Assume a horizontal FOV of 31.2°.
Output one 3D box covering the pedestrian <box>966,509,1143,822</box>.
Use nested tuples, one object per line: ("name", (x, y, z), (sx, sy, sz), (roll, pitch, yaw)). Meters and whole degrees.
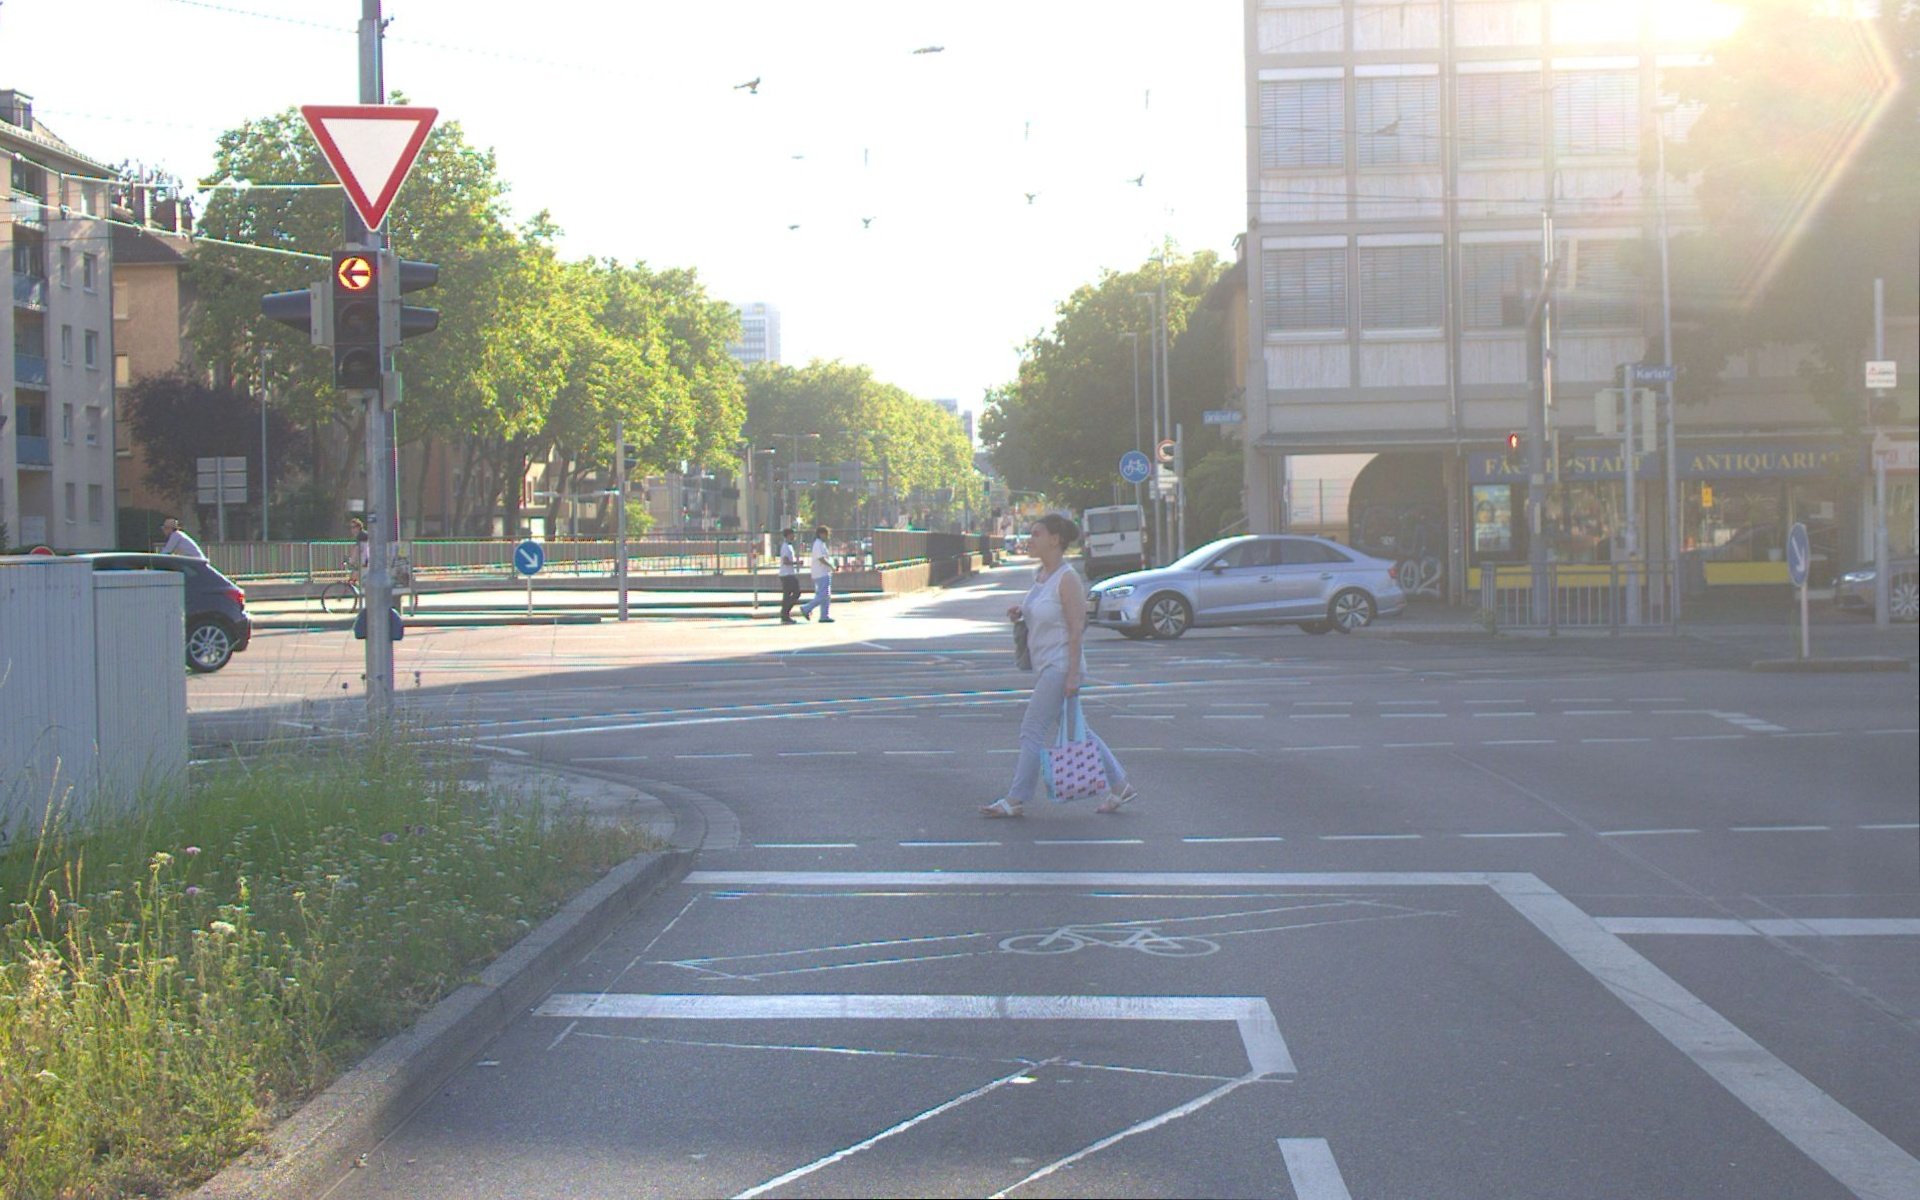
("pedestrian", (0.495, 0.332, 18.024), (0.878, 1.592, 0.655), (-1, 1, 2))

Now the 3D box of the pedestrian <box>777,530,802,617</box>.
("pedestrian", (-2.968, -0.470, 59.894), (0.366, 1.502, 0.543), (-1, 1, -5))

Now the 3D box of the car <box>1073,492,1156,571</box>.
("car", (5.020, -2.225, 112.600), (2.486, 2.384, 5.934), (-3, 1, 1))

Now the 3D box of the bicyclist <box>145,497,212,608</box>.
("bicyclist", (-12.517, -0.760, 55.110), (0.898, 1.747, 0.655), (-1, 1, -3))

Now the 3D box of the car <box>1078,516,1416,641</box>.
("car", (3.933, -0.314, 47.560), (4.331, 1.590, 2.000), (-2, 1, -6))

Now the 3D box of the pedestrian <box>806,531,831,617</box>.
("pedestrian", (-2.503, -0.462, 60.796), (0.366, 1.502, 0.543), (-1, 1, -5))

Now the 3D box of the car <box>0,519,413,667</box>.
("car", (-9.222, -0.114, 41.414), (4.764, 1.590, 2.000), (-2, 1, -33))

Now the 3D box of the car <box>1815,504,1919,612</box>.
("car", (14.463, -0.613, 47.808), (4.922, 1.473, 1.999), (-1, 1, 13))

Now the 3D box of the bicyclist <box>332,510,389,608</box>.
("bicyclist", (-10.883, -0.746, 62.414), (0.898, 1.747, 0.650), (-1, 1, -2))

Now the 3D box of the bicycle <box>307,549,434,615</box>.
("bicycle", (-10.694, -0.331, 62.433), (2.173, 1.133, 0.659), (-1, 1, -2))
